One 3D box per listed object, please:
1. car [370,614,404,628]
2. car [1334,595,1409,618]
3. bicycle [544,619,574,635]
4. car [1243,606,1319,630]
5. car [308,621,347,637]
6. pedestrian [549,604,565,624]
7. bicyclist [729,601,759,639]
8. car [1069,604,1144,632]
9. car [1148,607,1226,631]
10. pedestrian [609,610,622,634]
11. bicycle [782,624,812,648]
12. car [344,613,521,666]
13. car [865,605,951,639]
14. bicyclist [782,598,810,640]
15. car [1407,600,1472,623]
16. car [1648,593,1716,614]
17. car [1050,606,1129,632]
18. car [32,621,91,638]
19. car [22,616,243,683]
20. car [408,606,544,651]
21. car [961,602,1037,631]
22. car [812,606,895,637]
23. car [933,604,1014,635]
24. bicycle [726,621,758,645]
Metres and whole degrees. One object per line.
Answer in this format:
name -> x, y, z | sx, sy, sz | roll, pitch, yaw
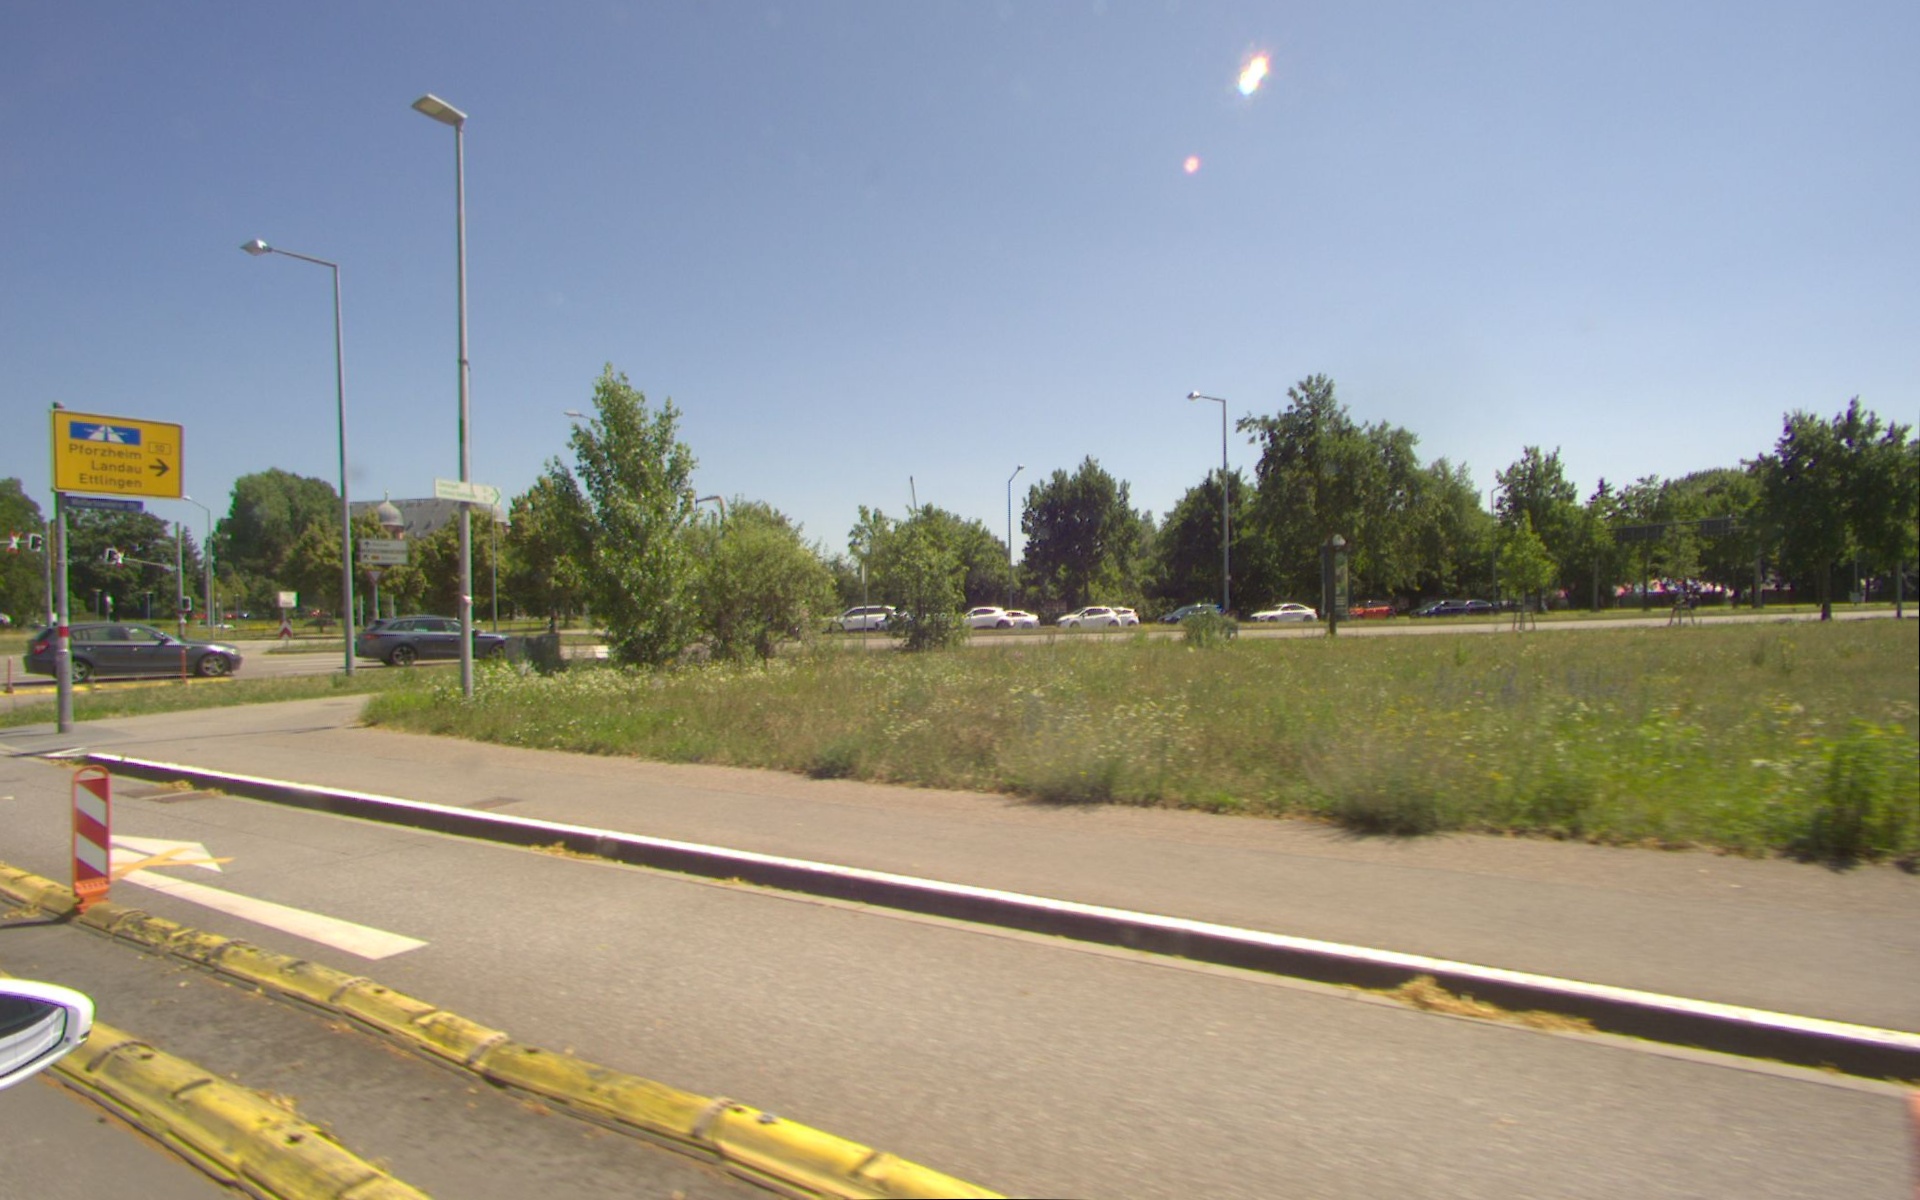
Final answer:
car -> -81.713, 3.021, 142.865 | 3.931, 2.039, 1.996 | 0, -2, -19
car -> 27.038, 0.410, 65.828 | 4.329, 1.441, 1.861 | 0, 0, -16
bicycle -> -28.869, 1.916, 72.088 | 2.023, 1.129, 0.728 | -1, -1, 22
car -> 20.417, 1.107, 63.720 | 4.329, 1.441, 1.861 | 0, 0, -16
car -> -82.846, 3.802, 131.191 | 3.931, 2.039, 1.996 | 0, -2, -19
pedestrian -> -29.029, 1.014, 72.099 | 0.804, 1.469, 0.708 | -1, -1, 22
bicyclist -> -9.191, 0.847, 42.594 | 0.941, 1.552, 1.185 | 0, 1, 3
car -> 9.281, 1.112, 63.556 | 4.329, 1.705, 1.861 | 0, 0, -16
car -> 13.952, 1.144, 61.604 | 4.329, 1.441, 1.861 | 0, 0, -16
pedestrian -> -25.339, 1.637, 73.646 | 0.564, 1.753, 0.674 | -1, -1, 15
bicycle -> -6.427, 1.400, 39.611 | 0.881, 0.912, 2.227 | 1, -1, -2
car -> -15.872, 1.135, 30.224 | 4.405, 1.437, 1.983 | -1, 0, -40
car -> -2.798, 1.157, 53.787 | 4.329, 1.705, 1.861 | 0, 0, -16
bicyclist -> -6.457, 0.769, 39.565 | 0.941, 1.630, 1.186 | -1, -1, -2
car -> 32.052, 0.794, 66.926 | 3.730, 1.493, 1.718 | 0, -2, -17
car -> 53.691, 0.258, 74.455 | 4.329, 1.441, 1.861 | 0, 0, -16
car -> 7.720, 1.116, 59.867 | 4.329, 1.441, 1.861 | 0, 0, -16
car -> -90.148, 2.961, 100.500 | 3.934, 1.594, 1.995 | 0, -2, -22
car -> -20.426, 1.156, 24.841 | 1.734, 1.422, 4.045 | 0, 1, 43
car -> -16.788, 0.954, 34.800 | 3.955, 1.441, 1.767 | -1, 0, -40
car -> 2.375, 1.002, 61.390 | 4.329, 1.705, 1.861 | 0, 0, -16
car -> -5.917, 1.177, 55.588 | 4.329, 1.639, 1.861 | 0, 0, -16
car -> 0.766, 1.094, 57.848 | 4.329, 1.705, 1.861 | 0, 0, -16
bicycle -> -9.210, 1.402, 42.434 | 0.881, 0.912, 1.762 | 1, 1, 3
